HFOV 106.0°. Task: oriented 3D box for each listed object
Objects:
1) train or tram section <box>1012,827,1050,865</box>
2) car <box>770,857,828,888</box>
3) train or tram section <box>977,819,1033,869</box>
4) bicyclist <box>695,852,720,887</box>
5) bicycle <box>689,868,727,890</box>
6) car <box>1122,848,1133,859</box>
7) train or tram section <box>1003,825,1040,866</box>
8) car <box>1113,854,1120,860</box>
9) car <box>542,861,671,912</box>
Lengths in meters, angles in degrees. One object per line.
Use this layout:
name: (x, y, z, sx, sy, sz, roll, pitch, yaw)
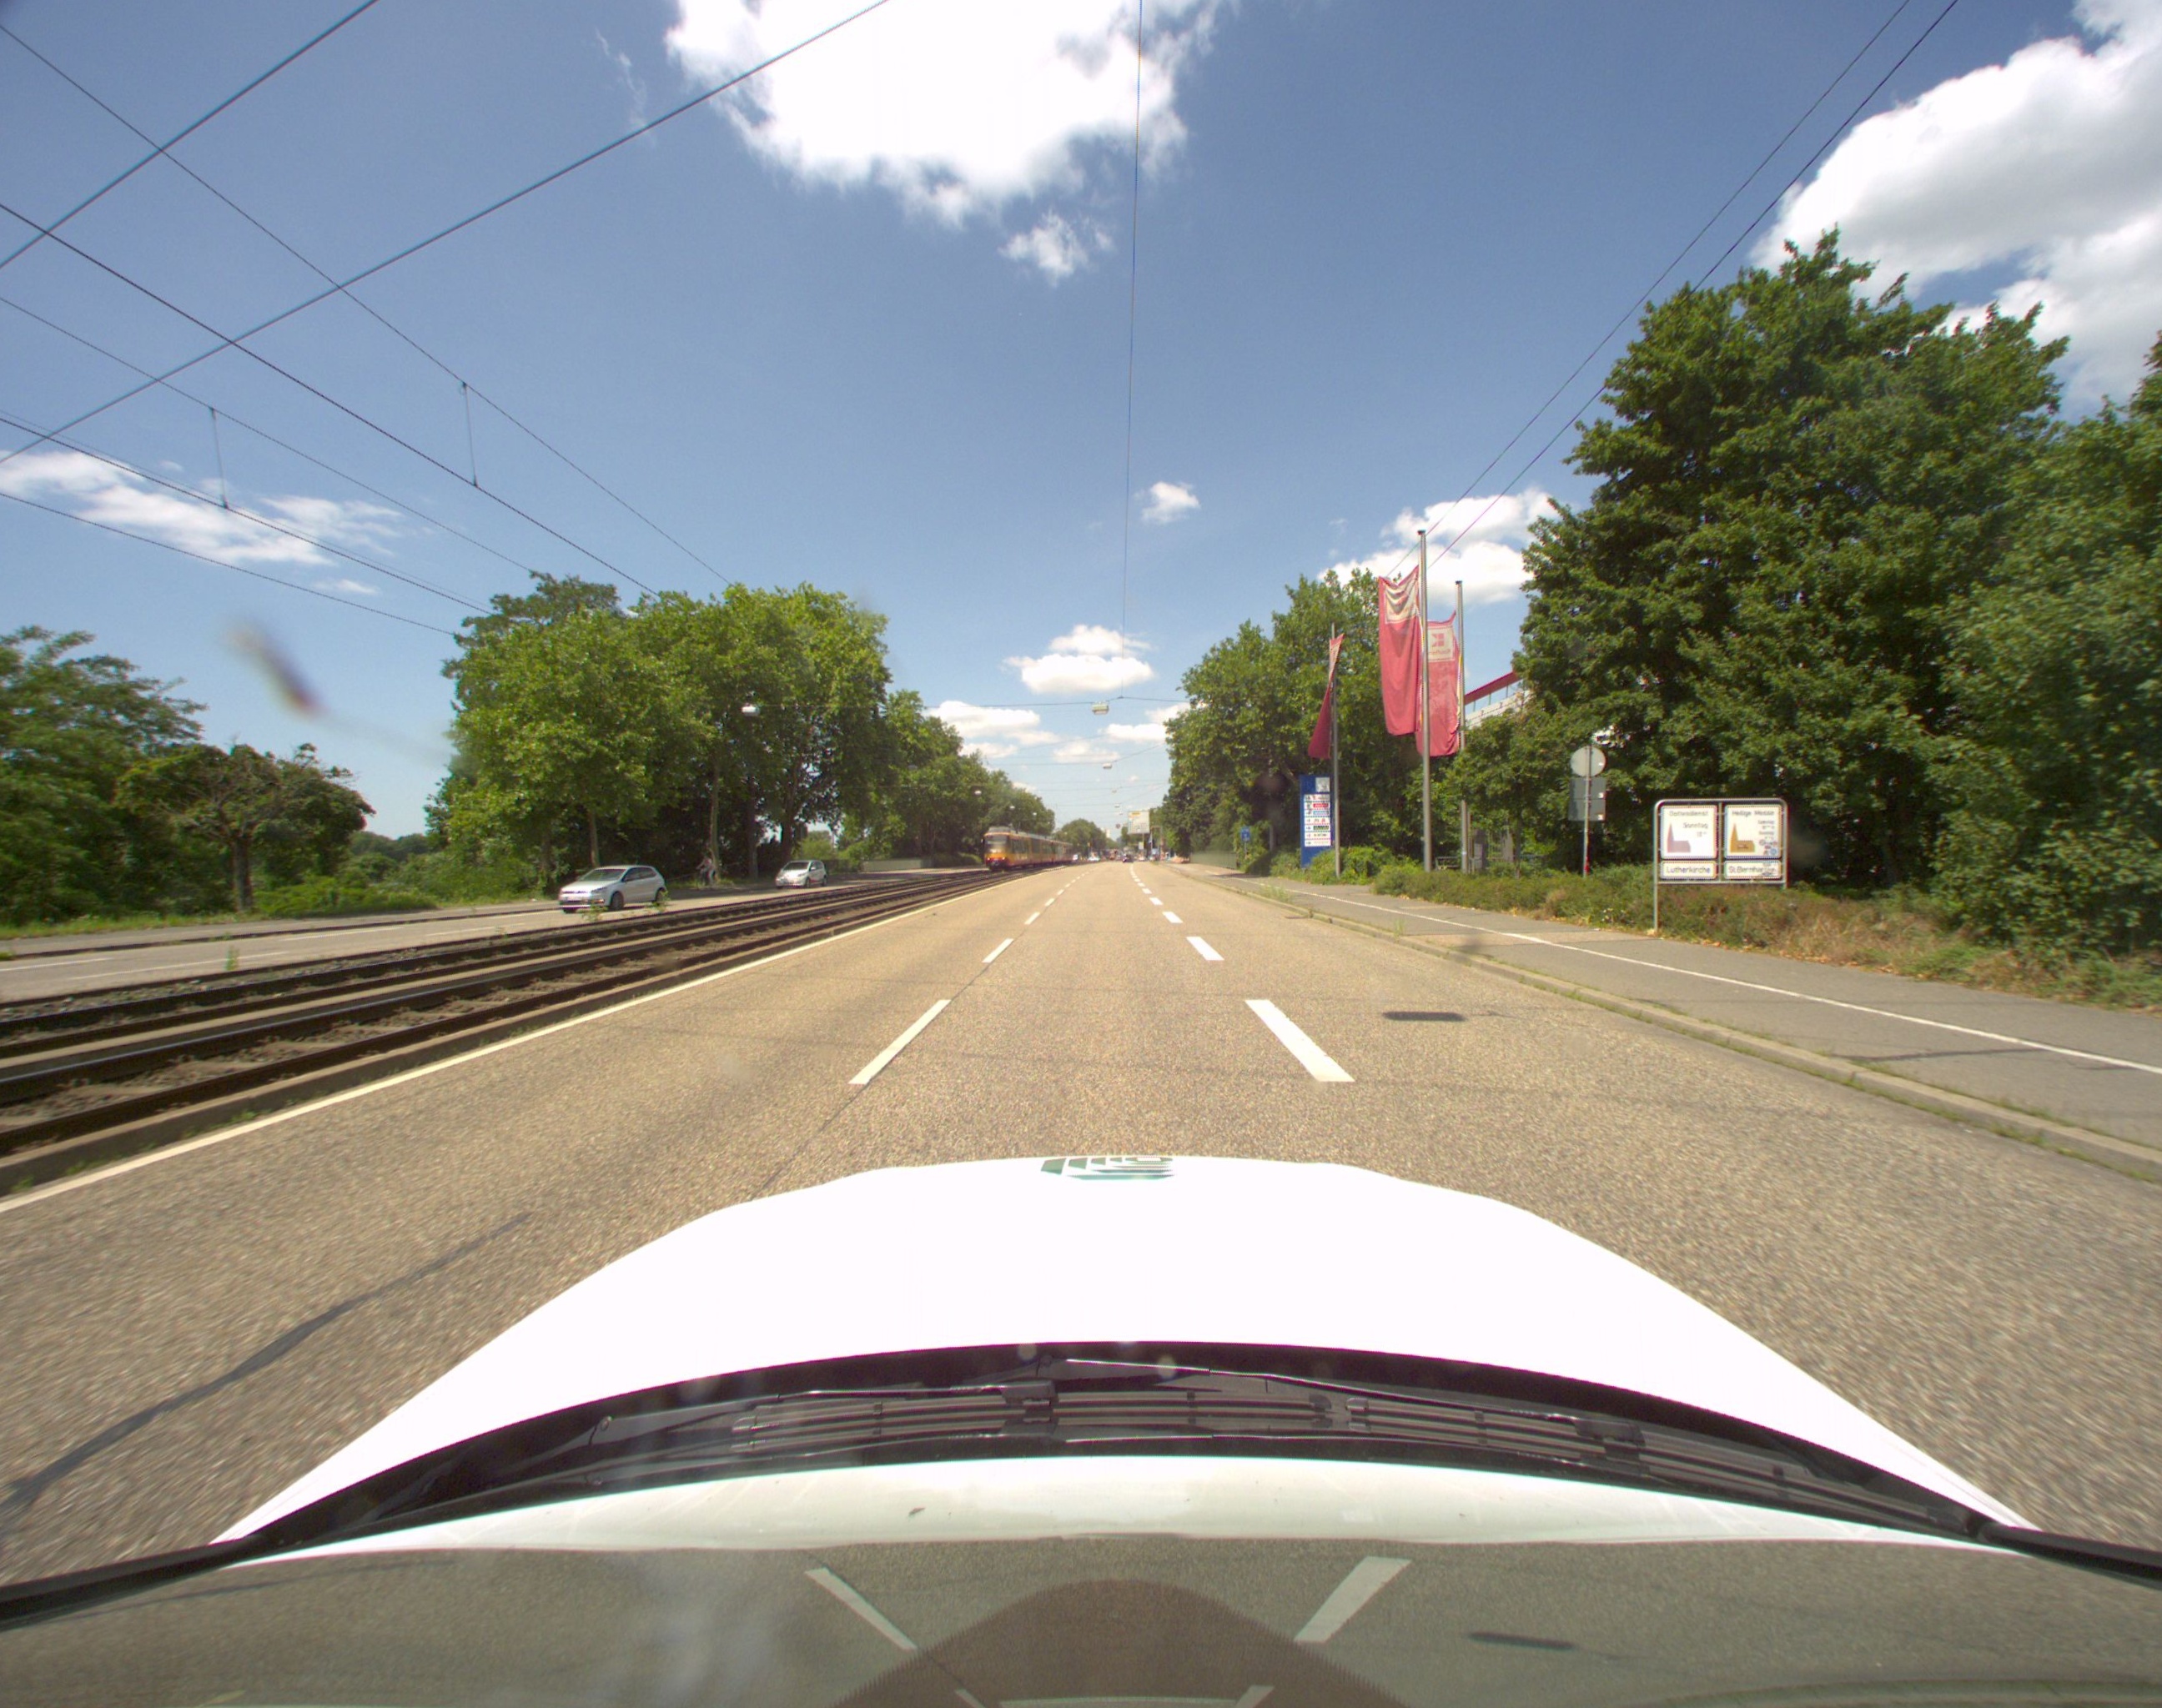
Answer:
train or tram section: (-5.941, -0.904, 98.814, 3.036, 4.267, 14.045, -1, 0, 3)
car: (-14.757, 0.934, 42.853, 1.631, 1.436, 3.722, -2, 0, 1)
train or tram section: (-6.930, -0.874, 77.463, 3.036, 4.267, 15.434, -1, 0, 3)
bicyclist: (-17.956, 0.738, 39.158, 0.619, 1.617, 1.064, 1, 0, 7)
bicycle: (-17.955, 1.183, 39.259, 0.619, 0.979, 2.059, 1, 0, 8)
car: (8.199, -0.059, 143.286, 1.892, 1.805, 3.977, 1, 0, 1)
train or tram section: (-6.393, -0.878, 88.656, 3.036, 4.267, 8.008, -1, 0, 2)
car: (10.381, 0.923, 239.926, 1.835, 1.550, 3.778, 1, 0, 1)
car: (-15.351, 0.995, 26.621, 1.630, 1.421, 4.130, -2, 0, 2)
